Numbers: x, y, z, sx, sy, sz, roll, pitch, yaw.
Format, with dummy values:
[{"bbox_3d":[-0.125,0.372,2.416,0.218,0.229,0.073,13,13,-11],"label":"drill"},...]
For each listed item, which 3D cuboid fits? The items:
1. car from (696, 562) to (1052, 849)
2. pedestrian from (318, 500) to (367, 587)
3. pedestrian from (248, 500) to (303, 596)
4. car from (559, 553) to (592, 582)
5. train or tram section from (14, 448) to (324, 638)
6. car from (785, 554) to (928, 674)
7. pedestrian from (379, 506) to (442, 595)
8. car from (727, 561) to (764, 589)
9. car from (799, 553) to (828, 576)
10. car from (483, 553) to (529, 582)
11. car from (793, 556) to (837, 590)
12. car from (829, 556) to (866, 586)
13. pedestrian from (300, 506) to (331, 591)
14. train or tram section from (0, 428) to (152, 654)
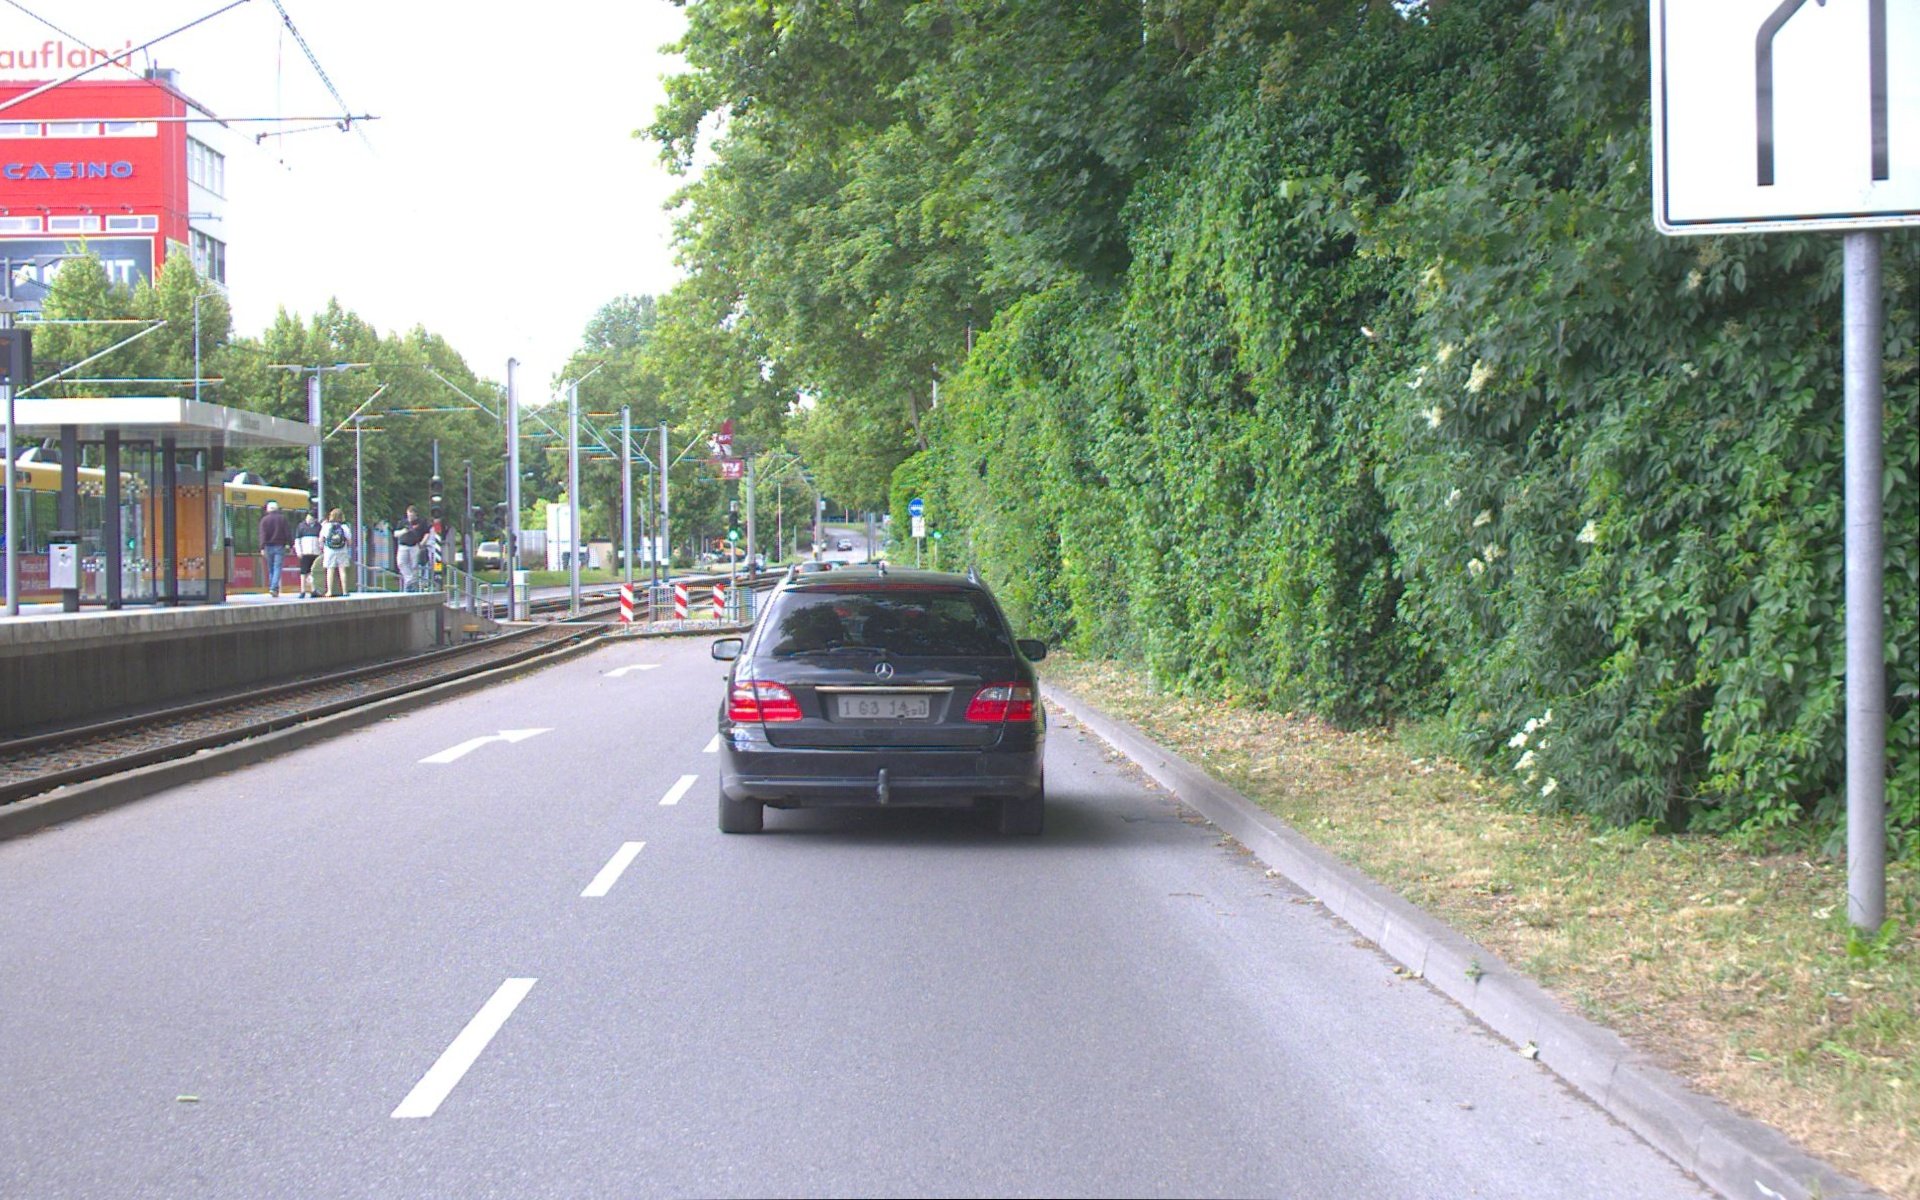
[{"bbox_3d":[-0.481,0.525,20.011,1.833,1.473,4.416,0,0,-1],"label":"car"},{"bbox_3d":[-10.711,-0.977,59.638,0.520,1.477,0.580,-2,0,37],"label":"pedestrian"},{"bbox_3d":[-12.093,-0.918,60.755,0.771,1.672,0.791,-2,0,-2],"label":"pedestrian"},{"bbox_3d":[-27.726,-2.351,247.941,1.993,2.007,4.000,-2,0,-2],"label":"car"},{"bbox_3d":[-17.738,-1.161,78.886,2.756,3.816,18.631,-1,0,0],"label":"train or tram section"},{"bbox_3d":[-1.421,0.154,46.510,1.825,1.525,4.416,-1,1,-2],"label":"car"},{"bbox_3d":[-10.555,-0.948,66.037,0.745,1.672,0.874,-2,0,42],"label":"pedestrian"},{"bbox_3d":[-12.048,-1.431,193.339,1.825,1.524,3.928,1,1,0],"label":"car"},{"bbox_3d":[-10.132,-2.466,237.499,1.825,1.524,3.986,1,1,0],"label":"car"},{"bbox_3d":[-28.620,-2.062,216.923,1.994,1.737,4.987,-1,1,2],"label":"car"},{"bbox_3d":[-6.638,-1.247,157.322,1.825,1.525,4.416,0,1,0],"label":"car"},{"bbox_3d":[-5.899,-1.543,180.785,1.825,1.524,3.928,1,1,0],"label":"car"},{"bbox_3d":[-11.300,-0.900,60.297,0.475,1.478,0.542,-2,0,-11],"label":"pedestrian"},{"bbox_3d":[-17.803,-0.993,60.180,2.756,3.869,18.632,-1,1,0],"label":"train or tram section"}]
